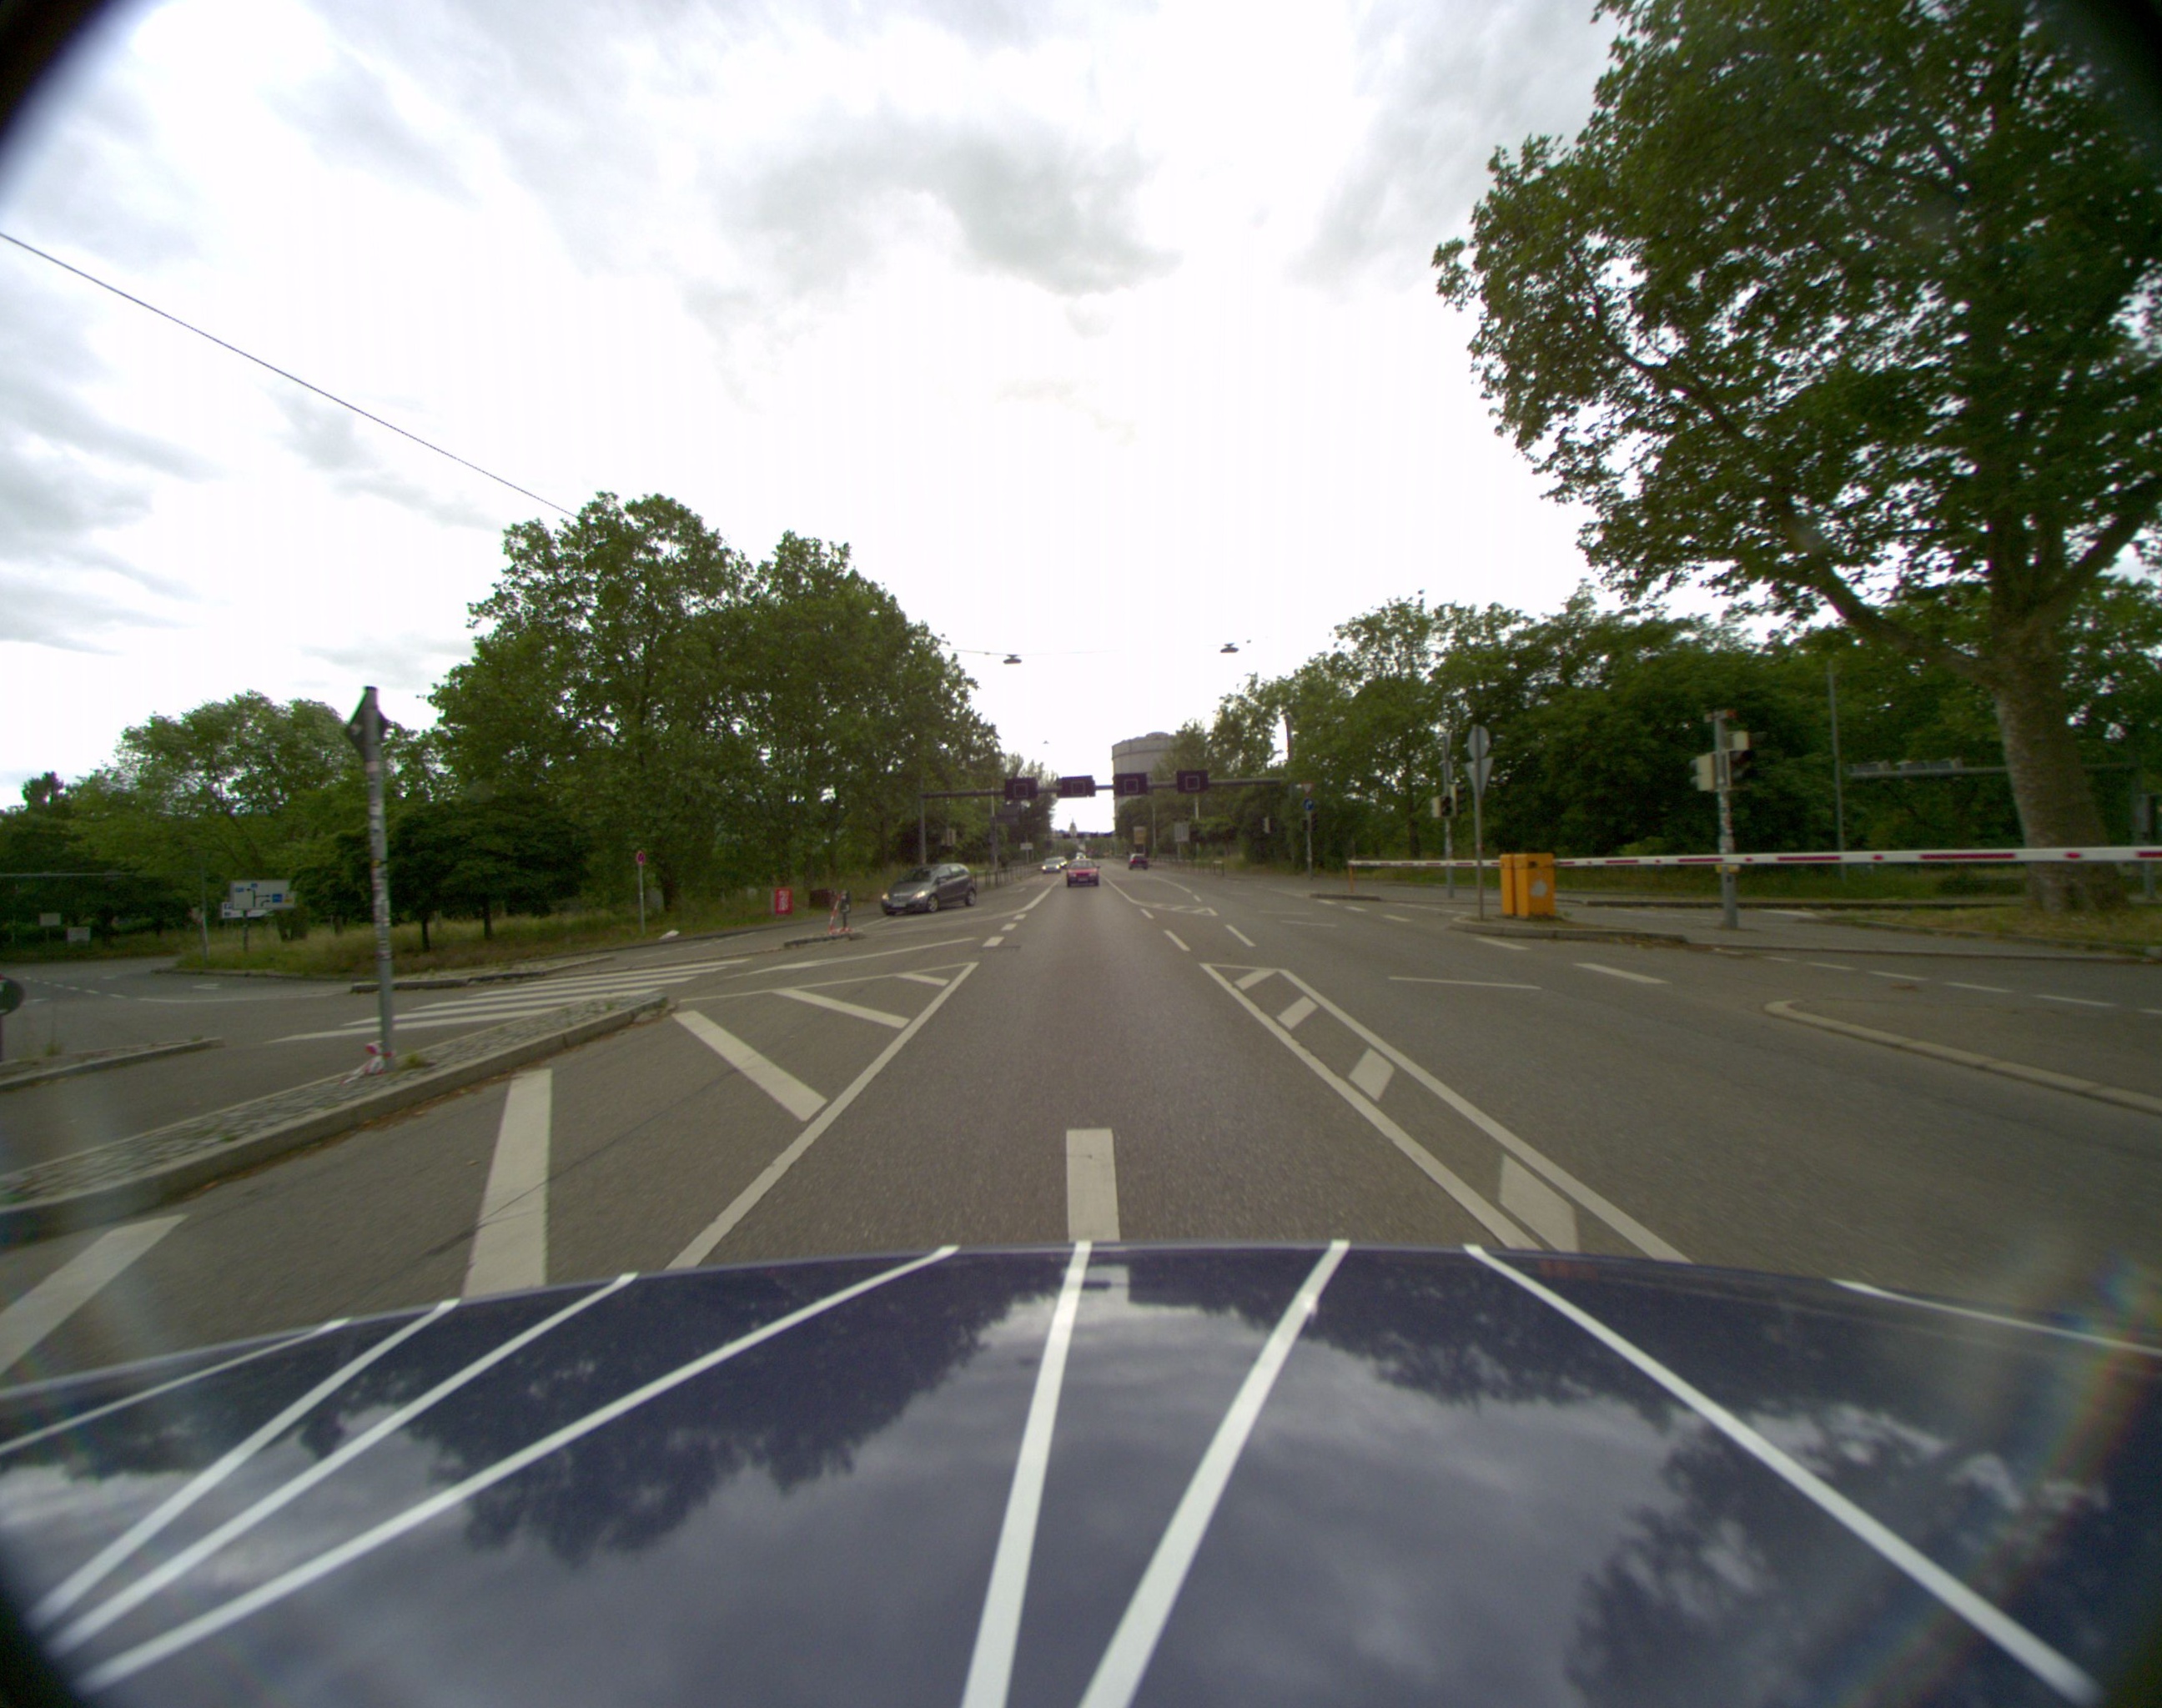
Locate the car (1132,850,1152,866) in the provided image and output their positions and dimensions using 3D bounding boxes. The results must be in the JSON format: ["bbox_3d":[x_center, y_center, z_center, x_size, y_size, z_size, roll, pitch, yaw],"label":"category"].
[{"bbox_3d":[6.444,0.414,80.907,1.998,1.650,4.518,-1,0,3],"label":"car"}]

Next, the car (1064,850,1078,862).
[{"bbox_3d":[-1.554,0.359,121.161,1.998,1.775,4.001,-2,0,1],"label":"car"}]

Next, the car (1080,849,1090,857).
[{"bbox_3d":[1.044,-0.168,182.410,1.998,1.792,4.001,-4,0,3],"label":"car"}]

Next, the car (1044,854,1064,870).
[{"bbox_3d":[-2.781,0.802,78.635,1.771,1.565,4.000,-2,0,0],"label":"car"}]

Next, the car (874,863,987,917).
[{"bbox_3d":[-5.006,1.171,25.903,1.828,1.606,4.040,-3,-1,21],"label":"car"}]

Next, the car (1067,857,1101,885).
[{"bbox_3d":[0.168,0.878,40.395,1.696,1.434,4.000,-1,-1,0],"label":"car"}]
